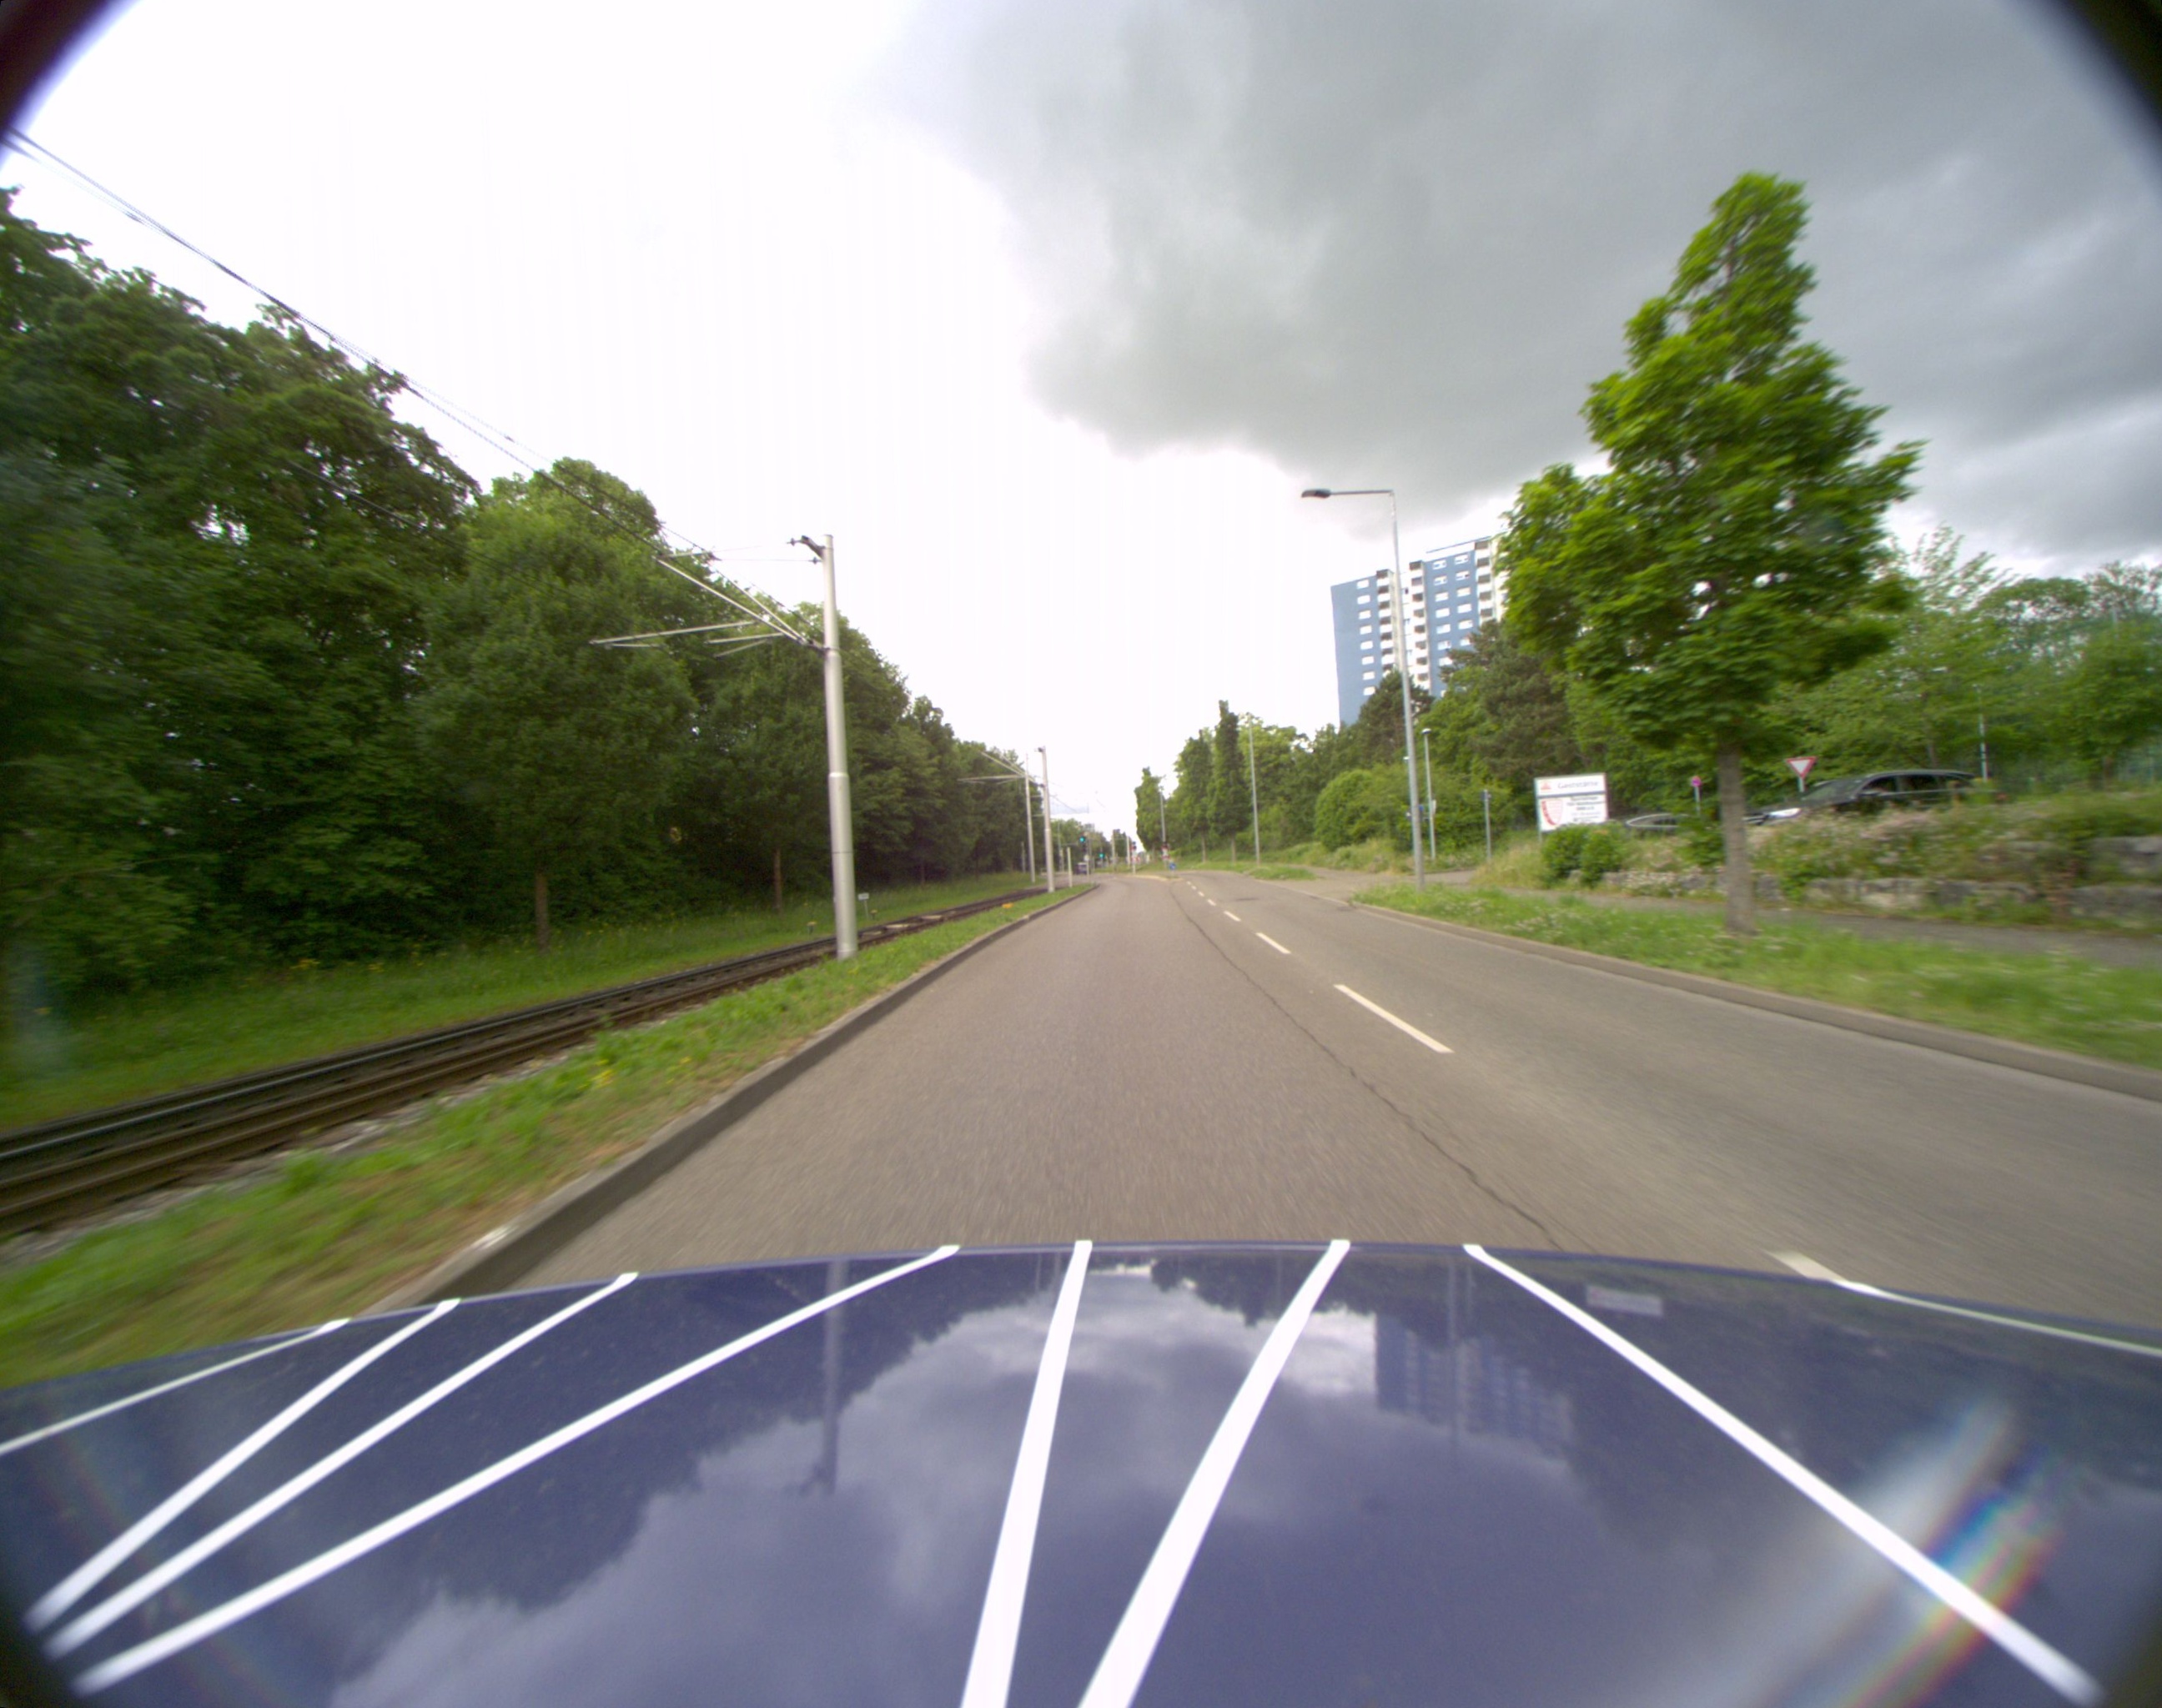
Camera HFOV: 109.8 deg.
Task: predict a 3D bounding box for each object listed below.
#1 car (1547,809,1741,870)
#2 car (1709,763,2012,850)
[{"bbox_3d":[16.216,-0.397,22.086,3.995,1.409,2.001,-4,0,6],"label":"car"},{"bbox_3d":[16.082,-0.932,15.913,4.043,1.409,2.001,-4,0,6],"label":"car"}]
